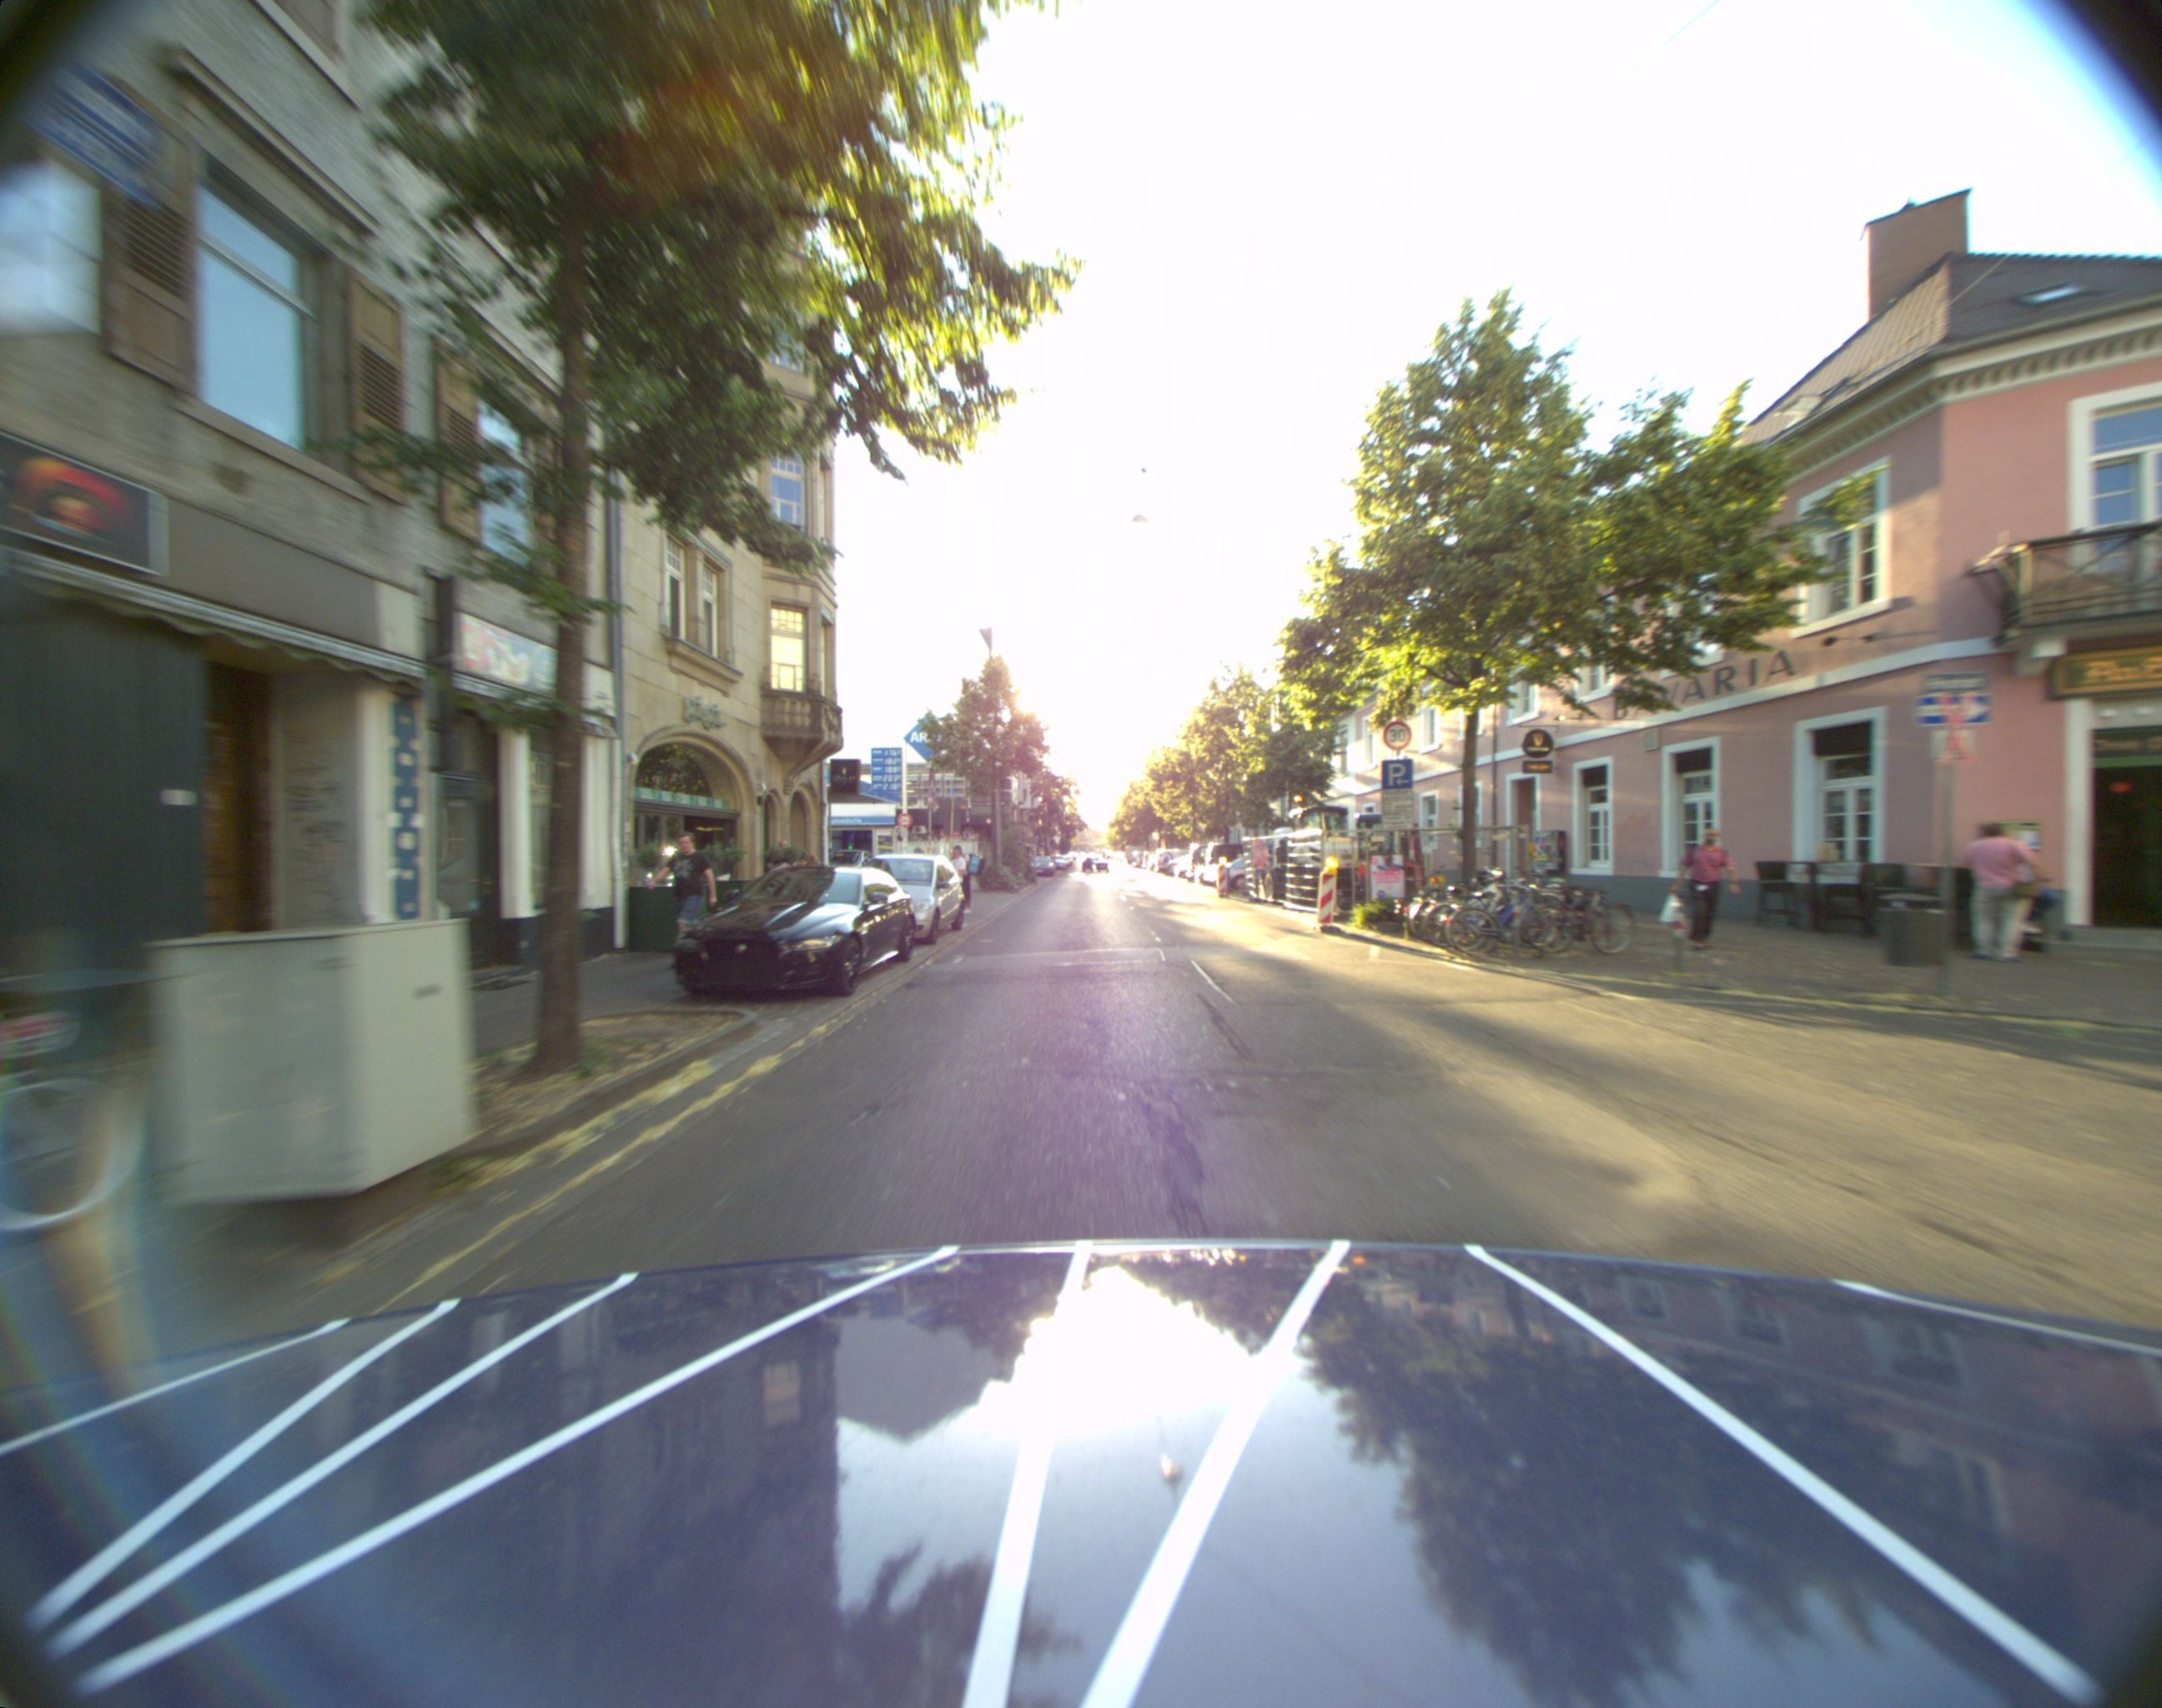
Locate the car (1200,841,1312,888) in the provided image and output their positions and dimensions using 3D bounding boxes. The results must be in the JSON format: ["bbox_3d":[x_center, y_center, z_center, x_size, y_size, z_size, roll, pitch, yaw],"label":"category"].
[{"bbox_3d":[7.789,0.459,34.125,4.495,1.964,1.965,-1,0,-1],"label":"car"}]

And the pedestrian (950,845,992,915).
[{"bbox_3d":[-2.951,0.694,20.352,1.017,1.815,0.779,2,0,-9],"label":"pedestrian"}]

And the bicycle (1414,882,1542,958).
[{"bbox_3d":[6.165,1.027,11.854,1.686,1.072,0.445,-3,1,9],"label":"bicycle"}]

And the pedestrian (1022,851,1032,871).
[{"bbox_3d":[-4.786,0.595,66.876,0.790,1.694,0.700,1,0,1],"label":"pedestrian"}]

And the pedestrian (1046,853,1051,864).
[{"bbox_3d":[-5.369,0.714,126.163,0.756,1.748,0.812,0,0,0],"label":"pedestrian"}]

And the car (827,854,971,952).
[{"bbox_3d":[-3.315,0.826,14.607,1.691,1.565,4.013,2,0,1],"label":"car"}]

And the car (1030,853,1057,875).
[{"bbox_3d":[-2.688,0.735,55.571,1.833,1.479,4.849,2,0,-1],"label":"car"}]

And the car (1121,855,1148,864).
[{"bbox_3d":[9.037,0.881,129.045,4.393,1.414,1.822,-2,0,0],"label":"car"}]

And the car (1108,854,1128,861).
[{"bbox_3d":[8.552,0.752,177.102,4.580,1.548,1.809,0,0,-37],"label":"car"}]

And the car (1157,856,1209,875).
[{"bbox_3d":[8.342,0.927,62.242,4.046,1.546,1.965,0,0,3],"label":"car"}]

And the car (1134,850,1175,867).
[{"bbox_3d":[8.391,0.507,86.998,4.510,1.942,1.919,-1,0,3],"label":"car"}]

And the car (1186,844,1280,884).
[{"bbox_3d":[7.808,0.493,39.450,4.494,1.964,2.068,-1,0,1],"label":"car"}]

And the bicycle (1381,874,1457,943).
[{"bbox_3d":[6.223,0.982,13.955,1.551,1.110,0.443,-4,2,-32],"label":"bicycle"}]

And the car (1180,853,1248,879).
[{"bbox_3d":[8.102,0.730,46.609,3.932,1.492,1.905,-1,0,3],"label":"car"}]

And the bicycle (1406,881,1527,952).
[{"bbox_3d":[6.295,1.024,12.472,1.686,1.072,0.445,-3,1,9],"label":"bicycle"}]

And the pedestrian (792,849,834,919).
[{"bbox_3d":[-6.096,0.673,17.299,0.660,1.553,0.701,2,0,1],"label":"pedestrian"}]

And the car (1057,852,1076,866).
[{"bbox_3d":[-1.603,0.607,85.653,1.846,1.472,5.190,2,0,1],"label":"car"}]

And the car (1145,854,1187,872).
[{"bbox_3d":[8.545,0.901,76.640,4.148,1.796,1.807,0,0,2],"label":"car"}]

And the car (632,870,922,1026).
[{"bbox_3d":[-3.422,0.963,9.641,1.789,1.367,4.524,2,0,0],"label":"car"}]

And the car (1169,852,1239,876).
[{"bbox_3d":[8.373,0.678,51.997,4.488,1.476,1.734,-1,0,3],"label":"car"}]

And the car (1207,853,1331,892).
[{"bbox_3d":[7.587,0.753,30.992,4.604,1.461,1.893,-1,0,4],"label":"car"}]

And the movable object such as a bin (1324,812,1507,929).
[{"bbox_3d":[8.501,0.346,18.943,2.307,2.480,5.767,0,0,44],"label":"movable object such as a bin"}]

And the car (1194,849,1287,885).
[{"bbox_3d":[7.654,0.626,36.759,4.140,1.627,1.860,-1,0,1],"label":"car"}]

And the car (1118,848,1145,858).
[{"bbox_3d":[9.016,-0.167,136.957,4.718,1.800,2.053,-2,0,2],"label":"car"}]

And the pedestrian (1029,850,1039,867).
[{"bbox_3d":[-4.746,0.477,77.365,0.924,1.749,0.762,1,0,1],"label":"pedestrian"}]

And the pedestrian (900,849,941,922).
[{"bbox_3d":[-3.824,0.748,18.103,0.654,1.690,0.666,2,0,-43],"label":"pedestrian"}]

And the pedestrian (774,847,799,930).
[{"bbox_3d":[-6.701,0.785,17.311,0.462,1.864,0.501,0,0,-14],"label":"pedestrian"}]

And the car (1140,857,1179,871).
[{"bbox_3d":[8.691,1.111,84.068,4.162,1.431,1.594,-1,0,2],"label":"car"}]

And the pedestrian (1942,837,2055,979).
[{"bbox_3d":[11.638,0.647,9.660,0.506,1.728,0.720,-1,2,-9],"label":"pedestrian"}]

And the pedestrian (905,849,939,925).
[{"bbox_3d":[-3.669,0.750,17.492,0.680,1.696,0.824,2,0,-14],"label":"pedestrian"}]

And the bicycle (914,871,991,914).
[{"bbox_3d":[-3.469,1.025,20.699,0.864,1.092,1.931,2,0,40],"label":"bicycle"}]

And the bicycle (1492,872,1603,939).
[{"bbox_3d":[8.402,0.929,13.717,1.686,1.142,0.444,-1,1,4],"label":"bicycle"}]

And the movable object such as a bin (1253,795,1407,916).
[{"bbox_3d":[6.744,0.043,21.389,2.631,2.951,5.303,0,0,1],"label":"movable object such as a bin"}]

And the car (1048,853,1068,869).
[{"bbox_3d":[-2.386,0.699,80.443,1.884,1.564,4.692,2,0,1],"label":"car"}]

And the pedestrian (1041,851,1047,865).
[{"bbox_3d":[-4.840,0.489,98.904,0.627,1.857,0.976,2,0,1],"label":"pedestrian"}]

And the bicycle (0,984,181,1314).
[{"bbox_3d":[-4.371,1.138,2.402,0.780,1.105,1.899,1,1,1],"label":"bicycle"}]

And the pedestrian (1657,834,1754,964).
[{"bbox_3d":[8.977,0.612,10.927,1.037,1.755,0.820,0,0,41],"label":"pedestrian"}]

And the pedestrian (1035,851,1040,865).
[{"bbox_3d":[-5.679,0.461,98.850,0.590,1.799,0.836,2,0,1],"label":"pedestrian"}]

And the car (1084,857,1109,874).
[{"bbox_3d":[1.366,0.991,68.339,1.685,1.453,4.069,0,0,-7],"label":"car"}]

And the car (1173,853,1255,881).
[{"bbox_3d":[7.587,0.740,43.575,4.338,1.492,1.841,-1,0,-4],"label":"car"}]

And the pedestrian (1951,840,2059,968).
[{"bbox_3d":[12.399,0.646,10.215,0.506,1.641,0.720,-1,2,-9],"label":"pedestrian"}]

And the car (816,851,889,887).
[{"bbox_3d":[-10.021,0.618,33.710,1.739,1.422,4.908,1,1,1],"label":"car"}]

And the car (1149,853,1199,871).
[{"bbox_3d":[7.857,0.661,64.714,4.047,1.475,1.963,0,0,0],"label":"car"}]

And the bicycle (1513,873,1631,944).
[{"bbox_3d":[8.421,0.935,13.056,1.686,1.142,0.444,-1,1,4],"label":"bicycle"}]

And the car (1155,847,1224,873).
[{"bbox_3d":[8.082,0.451,56.782,4.882,1.896,1.974,0,0,1],"label":"car"}]

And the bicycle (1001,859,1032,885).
[{"bbox_3d":[-2.957,0.830,35.021,0.482,1.136,1.684,3,0,31],"label":"bicycle"}]

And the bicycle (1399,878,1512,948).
[{"bbox_3d":[6.423,1.009,13.061,1.687,1.072,0.444,-3,1,0],"label":"bicycle"}]

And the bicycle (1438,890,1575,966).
[{"bbox_3d":[6.224,1.083,11.162,1.686,1.015,0.445,-3,1,9],"label":"bicycle"}]

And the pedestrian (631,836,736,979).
[{"bbox_3d":[-5.445,0.698,10.479,0.825,1.843,1.097,2,0,-1],"label":"pedestrian"}]

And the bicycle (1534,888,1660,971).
[{"bbox_3d":[7.174,1.031,10.587,1.491,1.053,0.470,-2,1,-5],"label":"bicycle"}]

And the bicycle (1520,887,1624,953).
[{"bbox_3d":[7.738,1.035,12.004,1.327,0.974,0.444,-1,1,4],"label":"bicycle"}]

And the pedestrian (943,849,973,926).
[{"bbox_3d":[-2.865,0.758,17.668,0.679,1.744,0.824,0,1,-10],"label":"pedestrian"}]

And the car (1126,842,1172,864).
[{"bbox_3d":[8.759,-0.141,97.615,5.672,2.606,2.171,-2,0,1],"label":"car"}]

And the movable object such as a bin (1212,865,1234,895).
[{"bbox_3d":[5.426,0.995,29.002,0.691,1.098,0.883,1,0,3],"label":"movable object such as a bin"}]
